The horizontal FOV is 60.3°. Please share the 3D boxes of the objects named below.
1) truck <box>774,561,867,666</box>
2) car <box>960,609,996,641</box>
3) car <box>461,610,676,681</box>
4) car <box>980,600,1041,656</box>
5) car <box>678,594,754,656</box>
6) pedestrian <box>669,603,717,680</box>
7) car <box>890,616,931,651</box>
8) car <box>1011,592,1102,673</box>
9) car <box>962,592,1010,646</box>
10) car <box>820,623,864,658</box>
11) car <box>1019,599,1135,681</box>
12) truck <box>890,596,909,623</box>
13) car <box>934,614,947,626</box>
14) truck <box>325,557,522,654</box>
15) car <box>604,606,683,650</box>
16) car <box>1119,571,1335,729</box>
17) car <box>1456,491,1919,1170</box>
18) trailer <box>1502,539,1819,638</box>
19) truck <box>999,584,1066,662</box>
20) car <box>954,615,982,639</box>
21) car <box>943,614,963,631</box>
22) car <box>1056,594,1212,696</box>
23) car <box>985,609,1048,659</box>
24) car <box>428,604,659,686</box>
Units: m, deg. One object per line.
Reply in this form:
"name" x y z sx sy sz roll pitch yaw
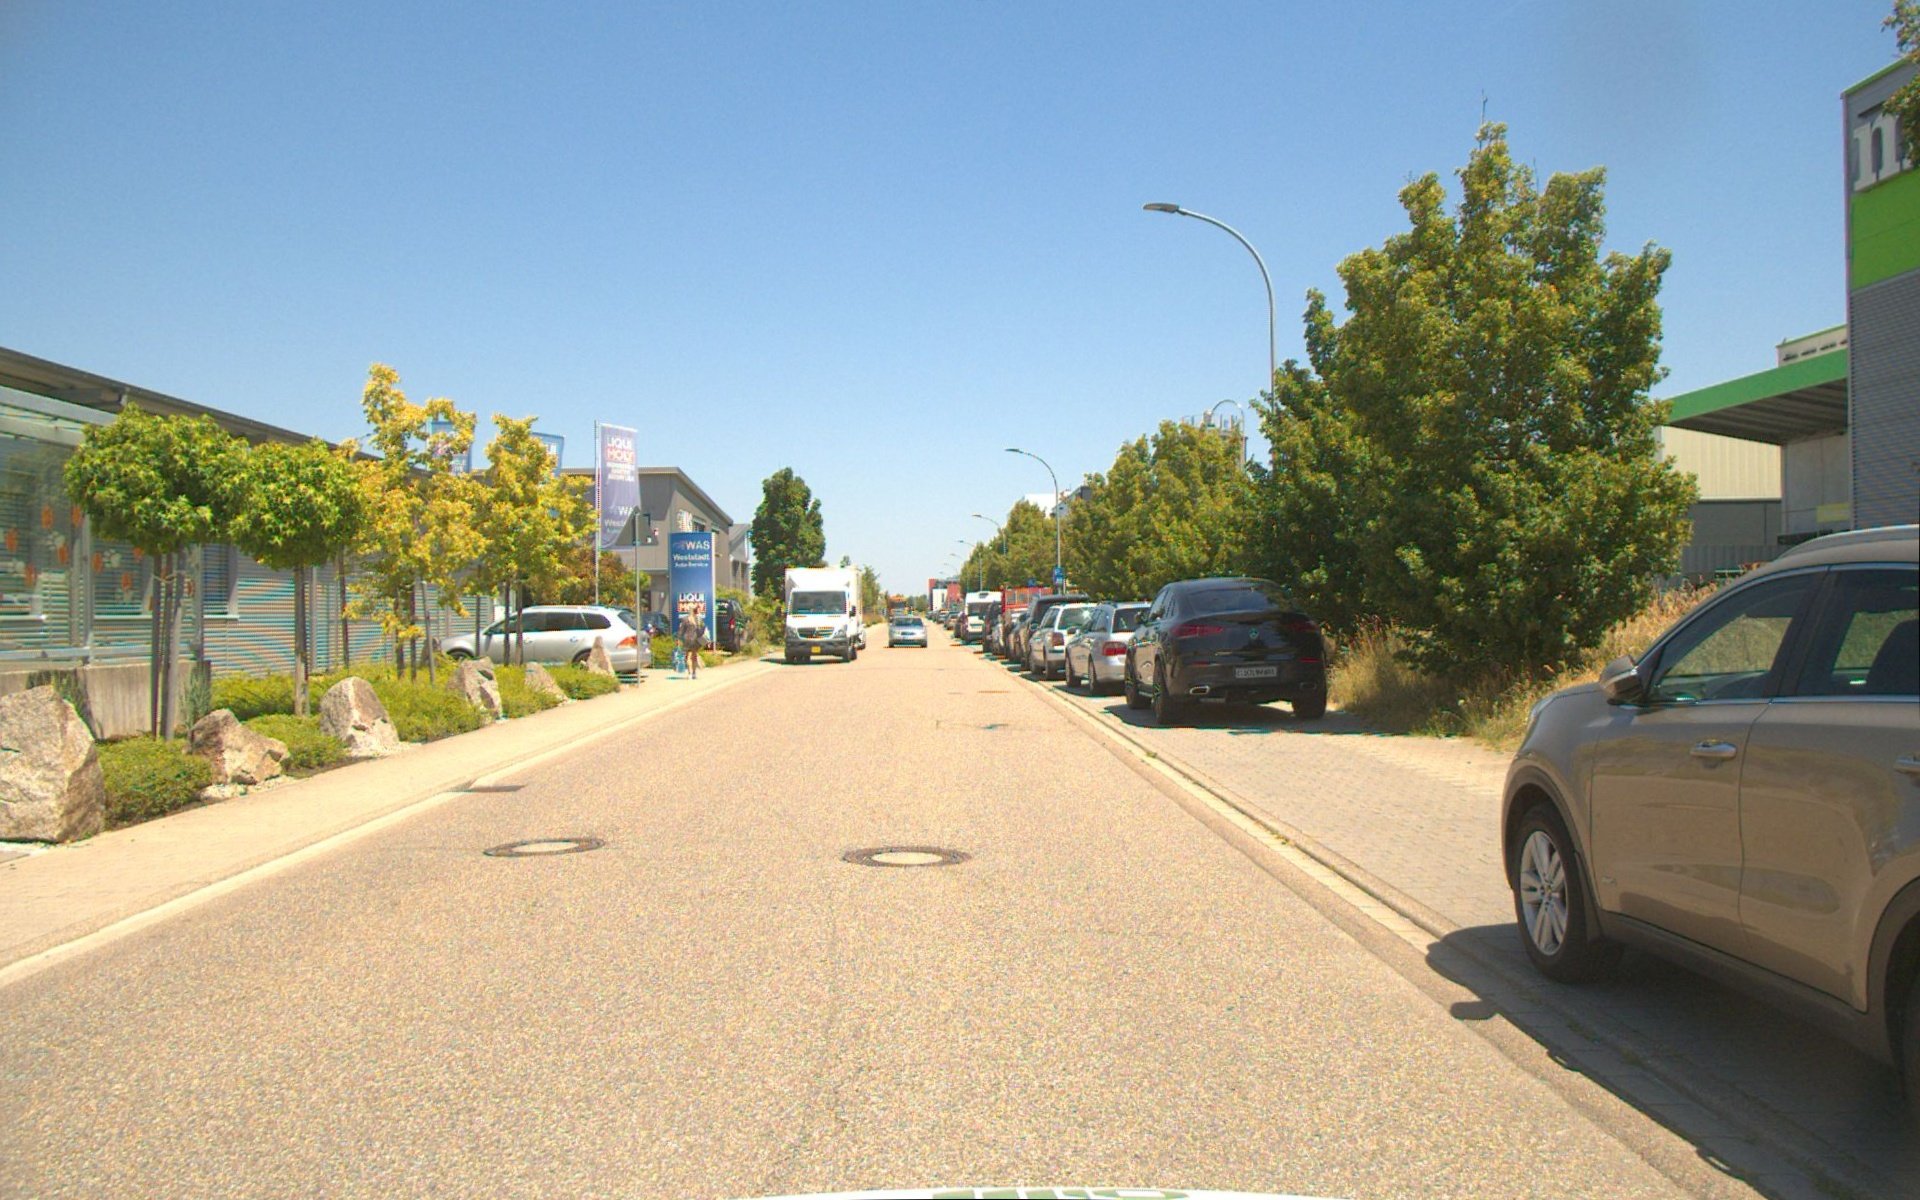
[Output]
"truck" -4.208 0.431 51.062 2.314 2.910 6.413 -3 -1 -1
"car" 1.041 1.535 100.100 1.953 1.857 4.352 -1 -1 -2
"car" -8.437 0.972 35.928 4.221 1.457 1.846 -1 -1 -1
"car" 1.839 1.032 61.696 1.953 1.917 5.154 -2 -1 -1
"car" -8.283 0.853 56.569 1.953 1.991 5.216 0 -1 -2
"pedestrian" -5.715 0.881 35.445 0.880 1.602 0.785 1 -1 -1
"car" -2.270 1.515 75.915 1.747 1.447 4.411 -3 -1 -2
"car" 2.260 0.751 39.995 1.774 1.755 4.772 -3 0 -1
"car" 1.287 0.958 83.080 2.221 2.541 6.151 -2 -1 0
"car" -5.155 1.749 72.717 1.695 1.484 4.489 0 -1 -2
"car" 2.354 0.790 34.434 1.680 1.508 4.769 -3 0 -4
"truck" -8.203 1.318 225.561 2.399 3.574 8.269 -2 0 -2
"car" -2.320 2.390 196.301 1.553 1.434 3.499 -1 0 -2
"truck" -21.104 0.214 64.924 7.882 3.619 2.583 0 -1 28
"car" -10.895 0.953 57.238 1.892 1.441 4.767 1 -1 -2
"car" 3.296 0.582 21.350 1.909 1.730 4.544 -3 0 -1
"car" 3.179 0.534 5.124 1.768 1.664 4.456 -3 0 -2
"trailer" 29.864 -0.472 70.762 12.363 3.943 2.803 -1 -2 -1
"truck" 2.213 0.712 51.388 1.645 2.219 4.388 -3 -1 -2
"car" 0.559 1.823 112.395 1.673 1.531 4.707 -2 -1 3
"car" -0.681 2.036 149.247 1.683 1.475 3.644 -2 -1 -2
"car" 2.875 0.724 28.311 1.769 1.508 4.769 -3 0 -4
"car" 1.865 1.137 55.799 1.704 1.557 3.997 -3 -1 -3
"car" -8.304 0.889 33.234 4.177 1.545 1.865 -1 -1 -3
